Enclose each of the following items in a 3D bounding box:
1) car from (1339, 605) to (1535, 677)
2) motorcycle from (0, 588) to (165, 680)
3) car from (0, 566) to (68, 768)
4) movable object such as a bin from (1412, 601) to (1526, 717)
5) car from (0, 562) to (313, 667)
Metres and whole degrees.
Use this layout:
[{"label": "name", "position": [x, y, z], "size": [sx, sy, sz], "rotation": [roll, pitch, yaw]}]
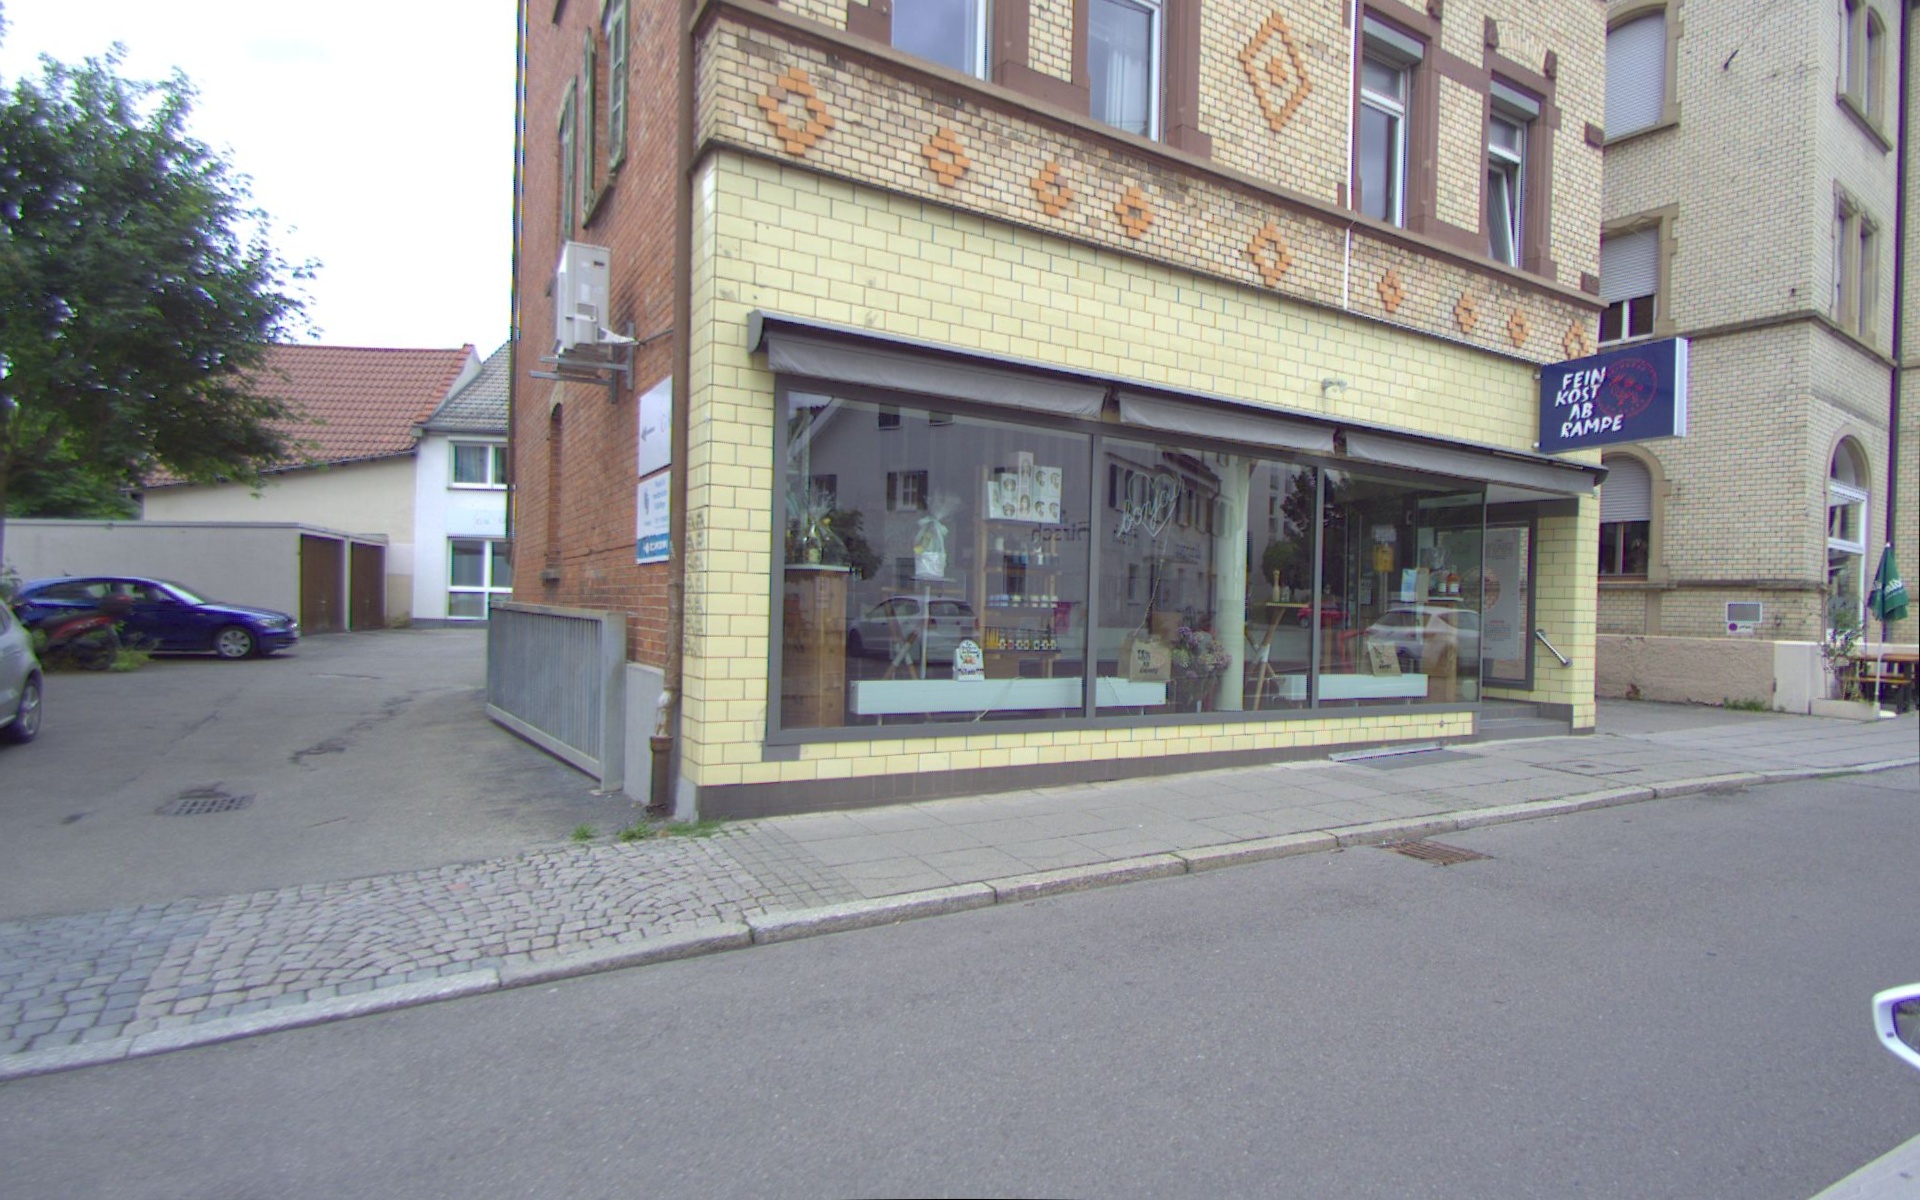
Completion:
[{"label": "car", "position": [10.280, 0.878, 21.618], "size": [3.955, 1.387, 1.983], "rotation": [2, 0, -32]}, {"label": "motorcycle", "position": [-13.233, 0.491, 15.019], "size": [2.004, 1.314, 0.774], "rotation": [1, 0, -30]}, {"label": "car", "position": [-8.705, 0.548, 7.722], "size": [1.863, 1.684, 3.980], "rotation": [1, 1, -28]}, {"label": "movable object such as a bin", "position": [6.642, 0.758, 13.131], "size": [0.813, 1.396, 0.938], "rotation": [4, 1, -29]}, {"label": "car", "position": [-14.111, 0.280, 17.894], "size": [3.965, 1.684, 1.877], "rotation": [2, -1, -20]}]
